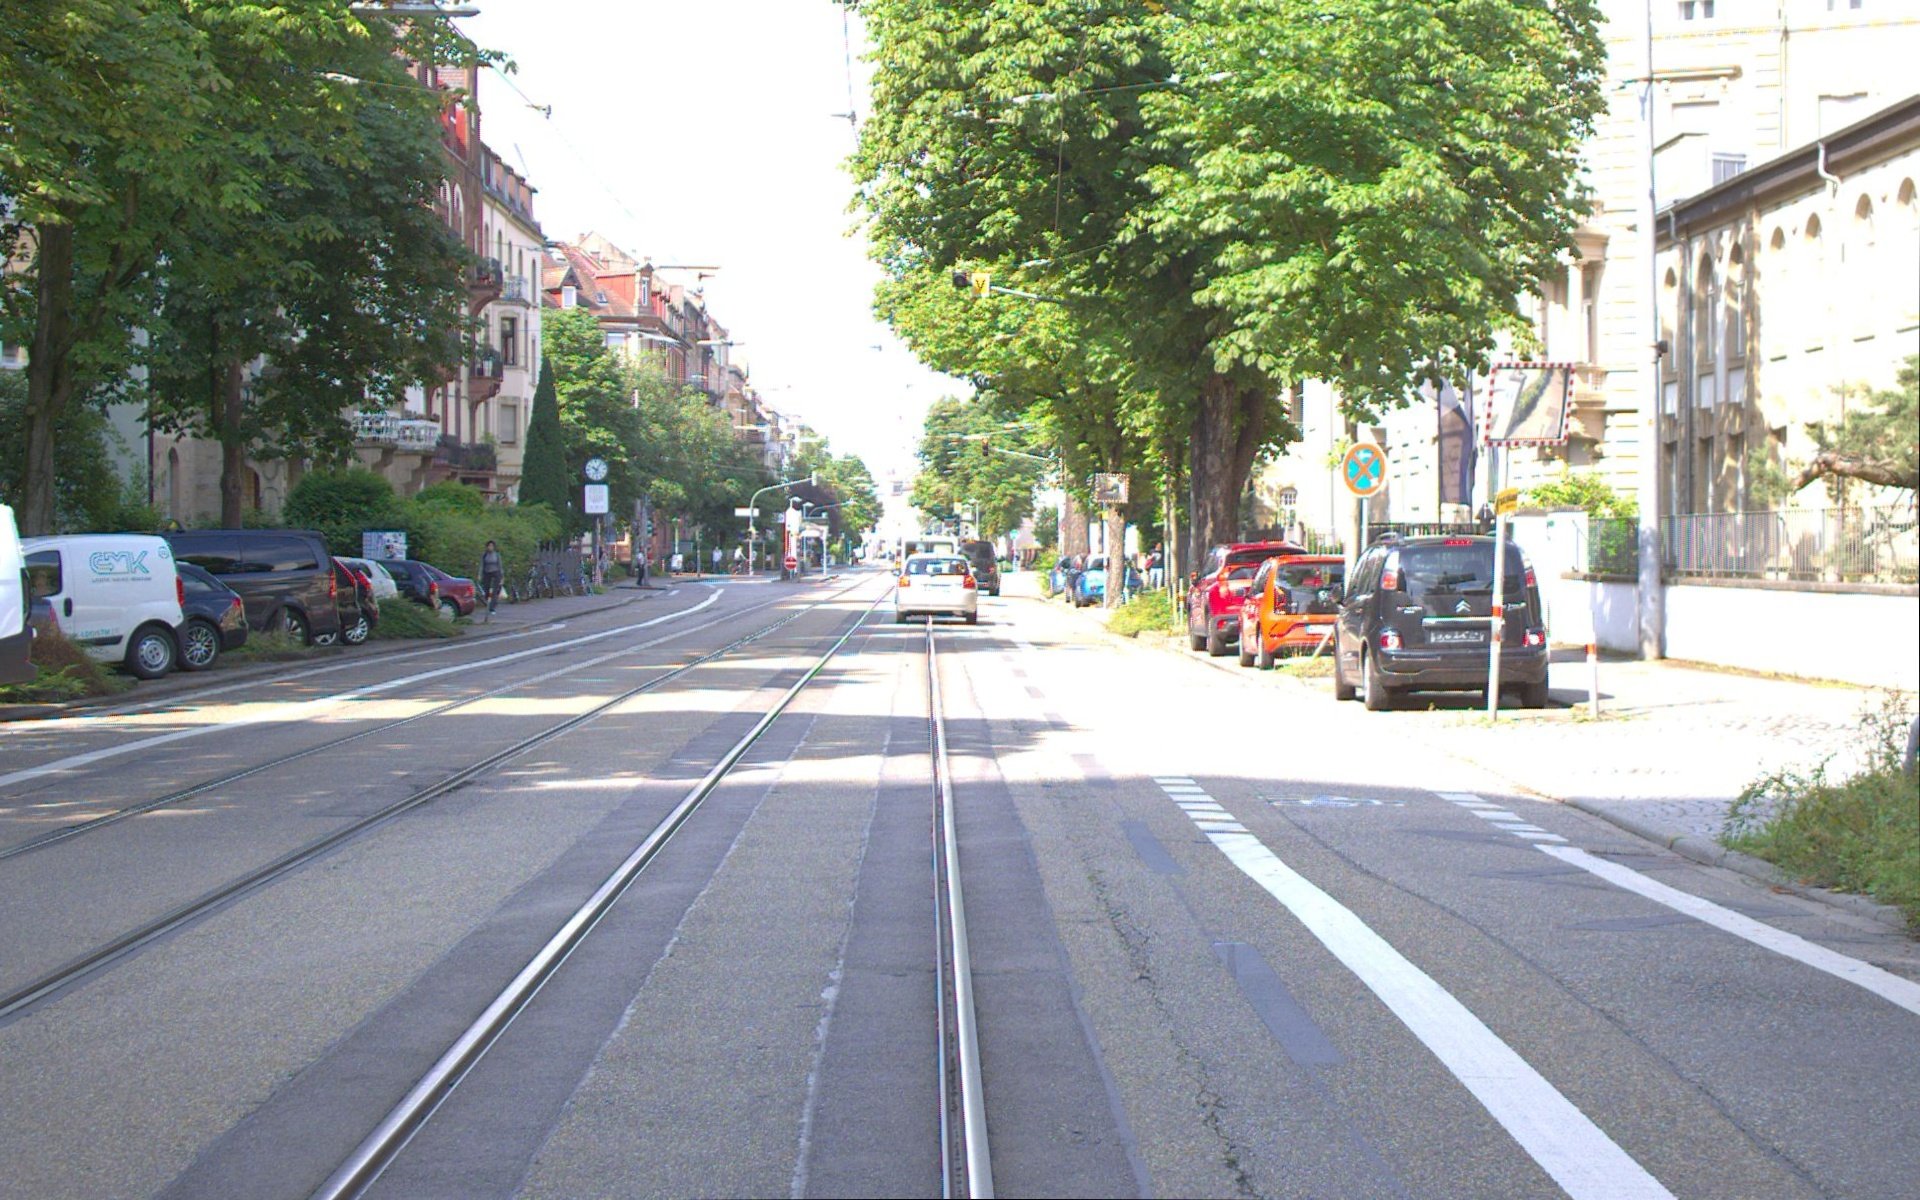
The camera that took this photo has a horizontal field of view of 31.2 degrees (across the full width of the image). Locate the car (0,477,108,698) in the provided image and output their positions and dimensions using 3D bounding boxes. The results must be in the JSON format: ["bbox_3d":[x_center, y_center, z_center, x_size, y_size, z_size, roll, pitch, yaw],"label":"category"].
[{"bbox_3d":[-10.089,-0.004,30.138,4.630,1.905,1.931,-5,4,-42],"label":"car"}]

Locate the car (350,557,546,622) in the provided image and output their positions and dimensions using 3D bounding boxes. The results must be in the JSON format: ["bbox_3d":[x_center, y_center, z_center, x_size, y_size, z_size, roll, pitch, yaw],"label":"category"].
[{"bbox_3d":[-10.753,-0.229,72.321,3.775,1.302,1.638,0,1,-39],"label":"car"}]

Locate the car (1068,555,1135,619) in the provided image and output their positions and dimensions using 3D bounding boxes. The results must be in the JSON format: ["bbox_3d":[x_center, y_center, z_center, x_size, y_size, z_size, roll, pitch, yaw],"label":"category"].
[{"bbox_3d":[3.853,-0.366,93.973,1.621,1.678,3.565,1,1,-1],"label":"car"}]

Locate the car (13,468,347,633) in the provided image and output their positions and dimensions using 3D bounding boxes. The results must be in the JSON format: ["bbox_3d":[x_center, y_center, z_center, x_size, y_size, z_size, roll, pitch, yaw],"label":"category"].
[{"bbox_3d":[-11.114,-0.688,49.147,1.882,2.074,4.193,5,1,44],"label":"car"}]

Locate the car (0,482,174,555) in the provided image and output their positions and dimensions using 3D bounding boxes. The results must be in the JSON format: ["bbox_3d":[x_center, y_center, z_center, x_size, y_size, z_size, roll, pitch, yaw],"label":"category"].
[{"bbox_3d":[-16.731,-1.507,63.937,3.775,1.302,1.638,0,1,-39],"label":"car"}]

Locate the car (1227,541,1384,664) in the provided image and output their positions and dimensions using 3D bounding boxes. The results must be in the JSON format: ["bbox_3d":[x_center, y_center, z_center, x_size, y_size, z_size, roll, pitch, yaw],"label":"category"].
[{"bbox_3d":[4.426,0.003,44.416,1.667,1.481,3.279,-1,1,0],"label":"car"}]

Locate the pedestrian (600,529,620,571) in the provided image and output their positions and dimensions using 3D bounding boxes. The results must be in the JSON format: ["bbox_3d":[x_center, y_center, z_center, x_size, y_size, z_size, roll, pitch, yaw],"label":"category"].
[{"bbox_3d":[-16.940,-2.409,166.365,0.884,2.007,0.788,1,1,-9],"label":"pedestrian"}]

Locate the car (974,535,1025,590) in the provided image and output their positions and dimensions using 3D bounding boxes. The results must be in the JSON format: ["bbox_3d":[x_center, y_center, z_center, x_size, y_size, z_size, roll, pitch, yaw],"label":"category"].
[{"bbox_3d":[1.345,-1.294,117.689,1.621,1.842,3.565,1,1,-1],"label":"car"}]

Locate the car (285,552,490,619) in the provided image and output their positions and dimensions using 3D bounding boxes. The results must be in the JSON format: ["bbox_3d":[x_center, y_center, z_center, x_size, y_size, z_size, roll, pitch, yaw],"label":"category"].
[{"bbox_3d":[-11.590,-0.297,69.720,3.775,1.302,1.638,0,1,-39],"label":"car"}]

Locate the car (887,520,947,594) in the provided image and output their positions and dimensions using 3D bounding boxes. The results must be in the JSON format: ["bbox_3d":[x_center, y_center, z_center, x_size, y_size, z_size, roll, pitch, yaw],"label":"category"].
[{"bbox_3d":[-1.195,-1.220,95.320,1.621,1.993,3.565,1,1,-1],"label":"car"}]

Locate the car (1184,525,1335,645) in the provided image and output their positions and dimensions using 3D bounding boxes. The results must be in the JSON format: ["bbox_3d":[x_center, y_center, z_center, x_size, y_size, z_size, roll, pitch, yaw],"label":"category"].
[{"bbox_3d":[4.456,-0.257,51.624,1.960,1.700,4.000,1,1,1],"label":"car"}]

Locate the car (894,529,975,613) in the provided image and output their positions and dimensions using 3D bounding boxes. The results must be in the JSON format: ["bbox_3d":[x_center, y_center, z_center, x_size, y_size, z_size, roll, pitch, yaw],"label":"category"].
[{"bbox_3d":[-0.531,-0.626,71.463,1.621,1.678,3.565,1,1,-1],"label":"car"}]

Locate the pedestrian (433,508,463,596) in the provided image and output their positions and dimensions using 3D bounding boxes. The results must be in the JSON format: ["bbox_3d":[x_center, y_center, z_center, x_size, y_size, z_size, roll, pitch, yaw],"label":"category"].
[{"bbox_3d":[-11.834,-1.112,79.474,0.616,2.007,0.501,1,1,-1],"label":"pedestrian"}]

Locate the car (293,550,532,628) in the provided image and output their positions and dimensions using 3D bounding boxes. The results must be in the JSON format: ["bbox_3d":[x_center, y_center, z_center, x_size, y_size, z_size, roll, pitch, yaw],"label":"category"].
[{"bbox_3d":[-9.499,-0.201,59.731,3.775,1.302,1.638,0,1,-39],"label":"car"}]

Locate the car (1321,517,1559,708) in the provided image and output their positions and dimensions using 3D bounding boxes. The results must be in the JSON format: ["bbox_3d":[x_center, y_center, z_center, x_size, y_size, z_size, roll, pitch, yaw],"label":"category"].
[{"bbox_3d":[4.524,0.071,32.836,1.674,1.606,3.585,-2,2,-1],"label":"car"}]

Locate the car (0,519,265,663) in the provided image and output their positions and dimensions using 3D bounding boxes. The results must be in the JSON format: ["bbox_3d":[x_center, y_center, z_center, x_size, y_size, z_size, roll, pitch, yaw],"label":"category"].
[{"bbox_3d":[-10.786,-0.137,42.846,1.882,1.706,3.749,2,2,44],"label":"car"}]

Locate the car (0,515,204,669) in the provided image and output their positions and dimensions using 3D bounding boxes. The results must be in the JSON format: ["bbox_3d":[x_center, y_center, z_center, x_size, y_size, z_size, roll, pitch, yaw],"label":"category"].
[{"bbox_3d":[-10.825,-0.115,39.495,1.882,1.706,3.749,2,2,44],"label":"car"}]

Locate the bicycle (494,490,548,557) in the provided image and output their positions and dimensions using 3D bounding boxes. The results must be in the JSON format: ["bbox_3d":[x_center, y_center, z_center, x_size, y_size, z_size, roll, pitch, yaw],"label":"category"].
[{"bbox_3d":[-11.619,-2.029,91.100,0.938,1.740,2.284,1,1,5],"label":"bicycle"}]

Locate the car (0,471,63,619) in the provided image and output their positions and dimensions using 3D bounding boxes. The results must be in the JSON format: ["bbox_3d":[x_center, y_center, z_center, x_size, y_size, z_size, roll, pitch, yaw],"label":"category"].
[{"bbox_3d":[-11.047,-0.551,34.417,1.761,1.495,3.628,0,1,42],"label":"car"}]

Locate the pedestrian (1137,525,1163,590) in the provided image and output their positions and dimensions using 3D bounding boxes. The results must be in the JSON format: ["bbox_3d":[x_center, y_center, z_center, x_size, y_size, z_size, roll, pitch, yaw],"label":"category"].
[{"bbox_3d":[5.923,-1.331,107.004,0.760,2.007,0.764,1,1,1],"label":"pedestrian"}]

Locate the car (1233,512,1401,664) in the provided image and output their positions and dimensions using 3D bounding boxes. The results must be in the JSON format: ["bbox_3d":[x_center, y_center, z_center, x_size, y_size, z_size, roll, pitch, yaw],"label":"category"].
[{"bbox_3d":[4.525,-0.194,44.022,1.674,1.605,3.586,-2,4,-1],"label":"car"}]
